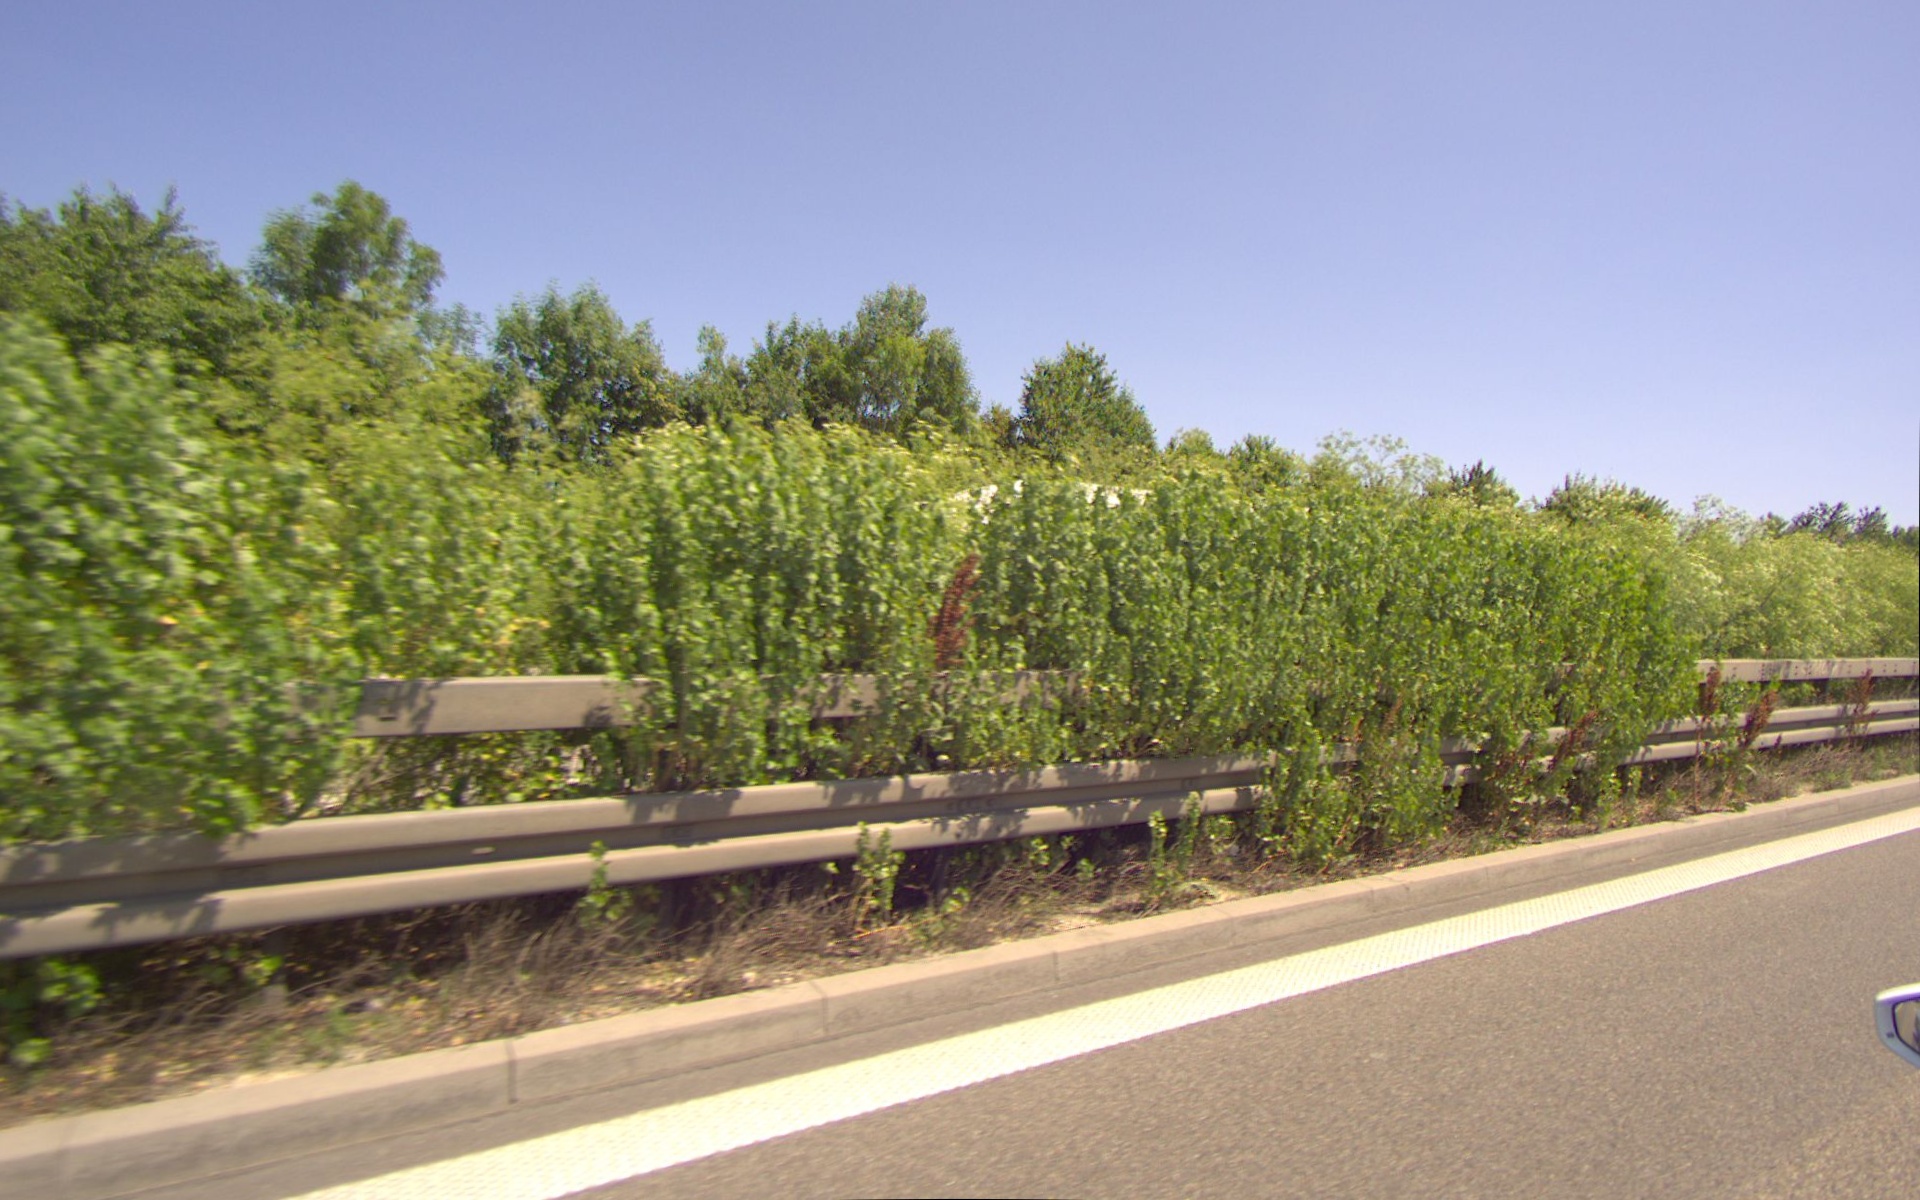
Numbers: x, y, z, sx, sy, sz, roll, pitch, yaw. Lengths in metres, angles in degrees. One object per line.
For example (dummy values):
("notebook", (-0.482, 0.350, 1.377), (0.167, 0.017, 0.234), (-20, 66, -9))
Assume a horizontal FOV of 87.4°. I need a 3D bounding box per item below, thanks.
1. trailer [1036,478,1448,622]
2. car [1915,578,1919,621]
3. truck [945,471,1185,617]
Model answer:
("trailer", (7.650, -0.988, 25.662), (12.179, 2.838, 2.659), (2, -1, -32))
("car", (58.751, 0.044, 59.194), (5.457, 2.484, 2.553), (2, -1, -35))
("truck", (2.331, -1.100, 22.285), (4.594, 2.785, 2.674), (2, -1, -32))
